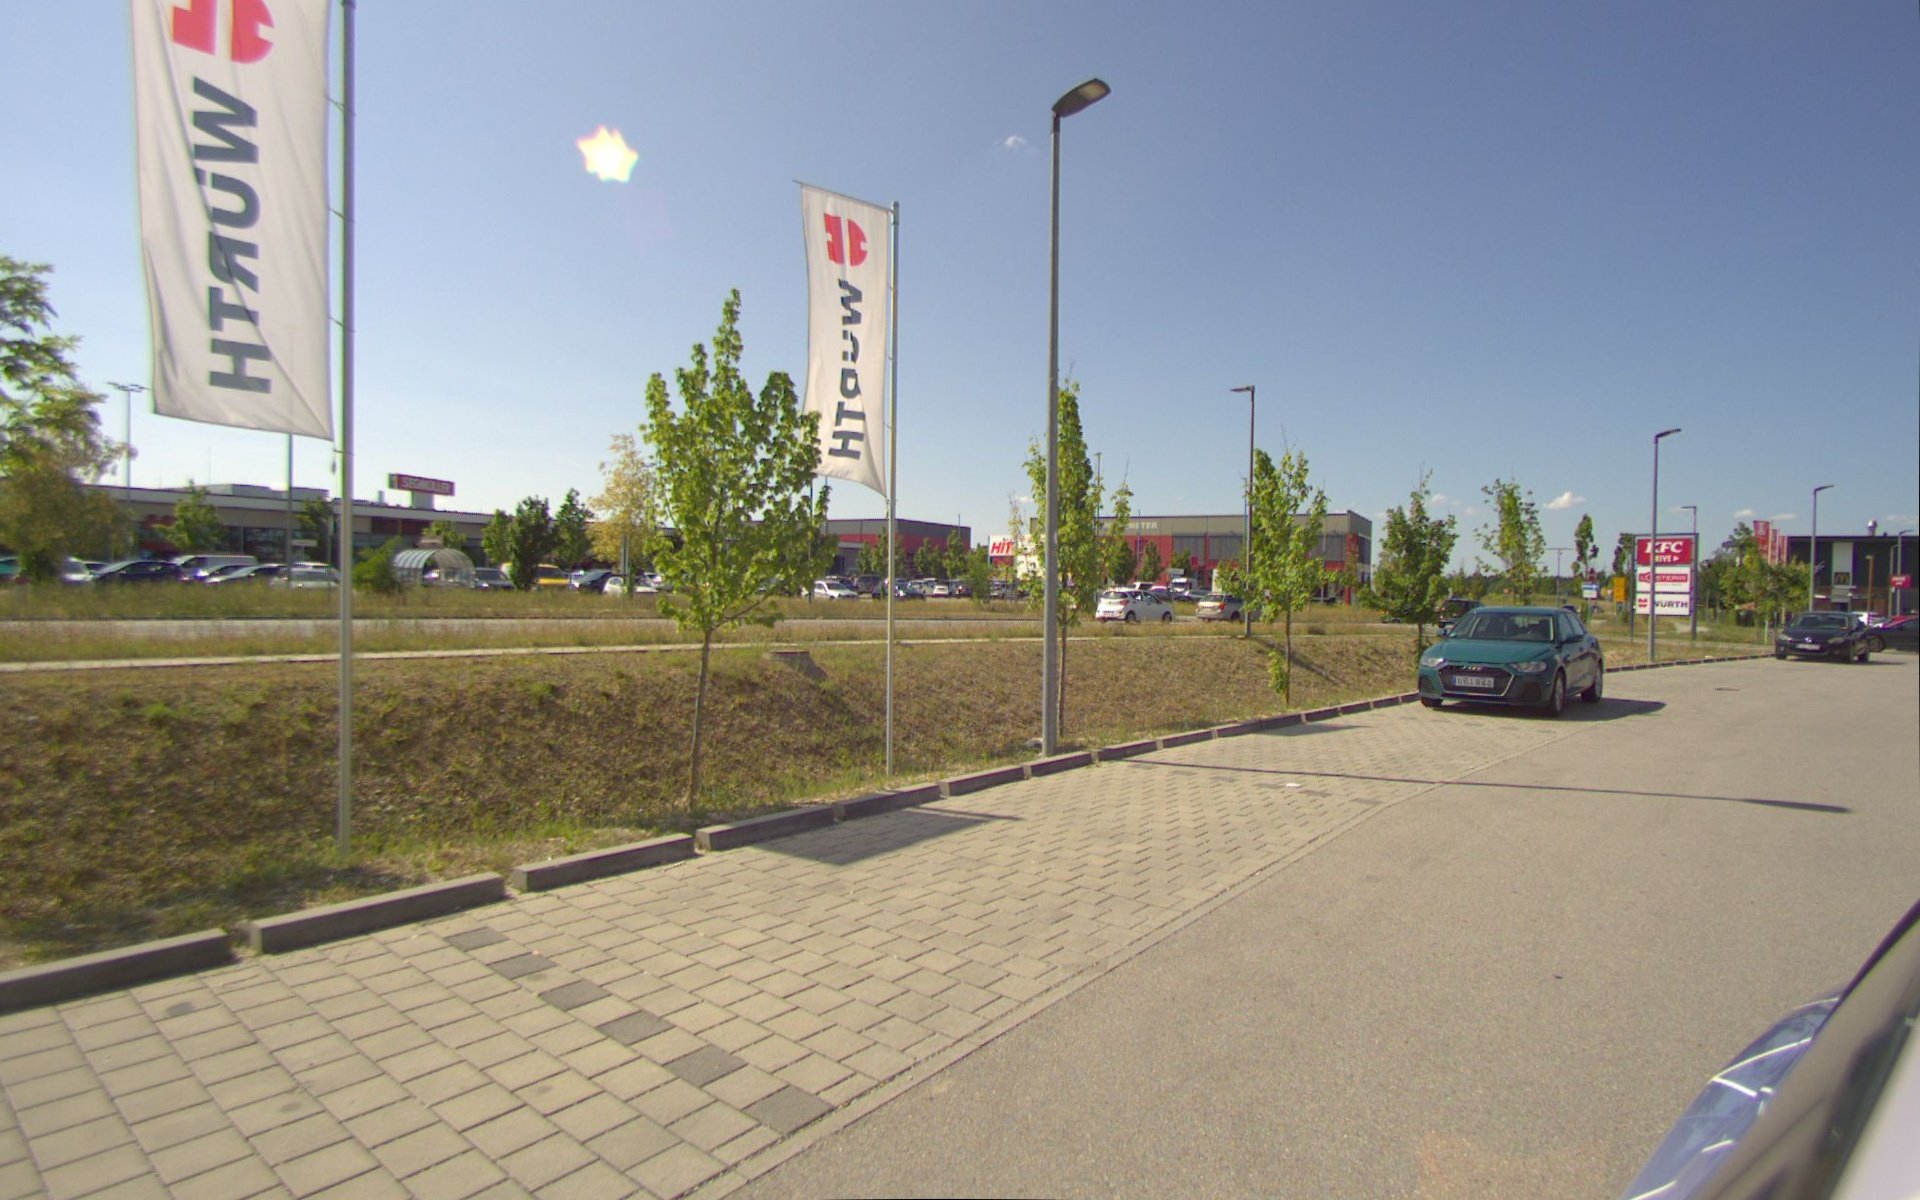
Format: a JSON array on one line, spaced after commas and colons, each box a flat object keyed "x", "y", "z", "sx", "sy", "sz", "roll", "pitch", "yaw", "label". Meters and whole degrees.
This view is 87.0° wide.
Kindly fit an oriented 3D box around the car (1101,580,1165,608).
[{"x": 13.272, "y": -0.457, "z": 77.814, "sx": 4.468, "sy": 2.063, "sz": 1.969, "roll": 1, "pitch": 0, "yaw": 42, "label": "car"}]

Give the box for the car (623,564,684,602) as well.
[{"x": -23.946, "y": -1.319, "z": 79.266, "sx": 1.983, "sy": 2.857, "sz": 4.436, "roll": 1, "pitch": 0, "yaw": 30, "label": "car"}]

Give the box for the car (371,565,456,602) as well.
[{"x": -34.698, "y": -1.023, "z": 64.373, "sx": 1.978, "sy": 2.219, "sz": 4.447, "roll": 1, "pitch": 0, "yaw": 24, "label": "car"}]

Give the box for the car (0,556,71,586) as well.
[{"x": -46.163, "y": -1.421, "z": 49.474, "sx": 1.715, "sy": 1.408, "sz": 3.697, "roll": 1, "pitch": 1, "yaw": 27, "label": "car"}]

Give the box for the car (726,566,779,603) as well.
[{"x": -16.572, "y": -1.242, "z": 81.009, "sx": 1.978, "sy": 2.857, "sz": 4.447, "roll": 1, "pitch": 0, "yaw": 24, "label": "car"}]

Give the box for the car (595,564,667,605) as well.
[{"x": -17.144, "y": -0.822, "z": 52.625, "sx": 1.911, "sy": 2.039, "sz": 4.401, "roll": 1, "pitch": 1, "yaw": -43, "label": "car"}]

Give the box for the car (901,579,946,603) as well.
[{"x": -3.225, "y": -0.745, "z": 89.683, "sx": 1.983, "sy": 2.063, "sz": 4.436, "roll": 1, "pitch": 0, "yaw": 30, "label": "car"}]

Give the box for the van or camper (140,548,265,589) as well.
[{"x": -40.549, "y": -1.653, "z": 54.266, "sx": 1.985, "sy": 2.039, "sz": 4.993, "roll": 2, "pitch": 1, "yaw": 32, "label": "van or camper"}]

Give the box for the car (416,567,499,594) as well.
[{"x": -30.551, "y": -1.174, "z": 61.627, "sx": 1.643, "sy": 1.539, "sz": 4.300, "roll": 1, "pitch": 0, "yaw": 32, "label": "car"}]

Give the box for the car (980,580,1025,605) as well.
[{"x": 3.606, "y": -0.630, "z": 85.367, "sx": 1.983, "sy": 2.063, "sz": 4.436, "roll": 1, "pitch": 0, "yaw": 30, "label": "car"}]

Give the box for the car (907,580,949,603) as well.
[{"x": -3.011, "y": -0.787, "z": 95.772, "sx": 1.983, "sy": 2.063, "sz": 4.436, "roll": 1, "pitch": 0, "yaw": 30, "label": "car"}]

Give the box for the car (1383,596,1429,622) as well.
[{"x": 28.552, "y": 0.575, "z": 64.750, "sx": 1.818, "sy": 1.561, "sz": 3.946, "roll": 1, "pitch": 0, "yaw": 37, "label": "car"}]

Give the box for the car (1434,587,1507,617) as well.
[{"x": 28.034, "y": 0.104, "z": 55.525, "sx": 4.678, "sy": 1.571, "sz": 1.944, "roll": 0, "pitch": 0, "yaw": -41, "label": "car"}]

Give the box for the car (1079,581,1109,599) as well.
[{"x": 15.928, "y": -1.141, "z": 120.179, "sx": 1.983, "sy": 2.063, "sz": 4.436, "roll": 1, "pitch": 0, "yaw": 30, "label": "car"}]

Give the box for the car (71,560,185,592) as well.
[{"x": -38.099, "y": -1.087, "z": 46.440, "sx": 1.715, "sy": 1.408, "sz": 3.697, "roll": 1, "pitch": 1, "yaw": 27, "label": "car"}]

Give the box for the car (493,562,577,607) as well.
[{"x": -20.645, "y": -0.773, "z": 49.067, "sx": 2.128, "sy": 2.039, "sz": 5.106, "roll": 0, "pitch": 1, "yaw": -43, "label": "car"}]

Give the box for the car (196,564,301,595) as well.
[{"x": -36.034, "y": -1.019, "z": 51.344, "sx": 1.860, "sy": 1.527, "sz": 3.955, "roll": 1, "pitch": 0, "yaw": 31, "label": "car"}]

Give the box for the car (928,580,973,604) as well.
[{"x": -0.802, "y": -0.708, "z": 88.677, "sx": 1.983, "sy": 2.063, "sz": 4.436, "roll": 1, "pitch": 0, "yaw": 30, "label": "car"}]

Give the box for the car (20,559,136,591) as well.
[{"x": -40.839, "y": -1.163, "z": 46.926, "sx": 1.715, "sy": 1.408, "sz": 3.697, "roll": 1, "pitch": 1, "yaw": 27, "label": "car"}]

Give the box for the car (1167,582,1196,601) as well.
[{"x": 25.088, "y": -0.986, "z": 114.358, "sx": 1.983, "sy": 2.063, "sz": 4.436, "roll": 1, "pitch": 0, "yaw": 30, "label": "car"}]

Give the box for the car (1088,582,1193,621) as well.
[{"x": 7.757, "y": 0.052, "z": 43.299, "sx": 4.678, "sy": 1.571, "sz": 1.943, "roll": 0, "pitch": 0, "yaw": -42, "label": "car"}]

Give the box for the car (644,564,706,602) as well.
[{"x": -21.738, "y": -1.277, "z": 77.264, "sx": 1.983, "sy": 2.857, "sz": 4.436, "roll": 1, "pitch": 0, "yaw": 30, "label": "car"}]

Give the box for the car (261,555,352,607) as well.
[{"x": -27.179, "y": -0.801, "z": 41.988, "sx": 5.101, "sy": 2.039, "sz": 2.130, "roll": 2, "pitch": 1, "yaw": 45, "label": "car"}]

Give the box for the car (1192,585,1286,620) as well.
[{"x": 13.291, "y": 0.111, "z": 48.069, "sx": 4.674, "sy": 1.571, "sz": 1.945, "roll": 0, "pitch": 0, "yaw": -38, "label": "car"}]

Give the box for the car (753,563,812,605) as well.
[{"x": -12.604, "y": -1.127, "z": 71.939, "sx": 1.978, "sy": 2.857, "sz": 4.447, "roll": 1, "pitch": 0, "yaw": 24, "label": "car"}]

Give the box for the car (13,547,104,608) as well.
[{"x": -32.253, "y": -0.820, "z": 36.161, "sx": 5.101, "sy": 2.039, "sz": 2.130, "roll": 2, "pitch": 1, "yaw": 45, "label": "car"}]

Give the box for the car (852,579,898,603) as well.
[{"x": -7.731, "y": -0.819, "z": 92.205, "sx": 1.983, "sy": 2.063, "sz": 4.436, "roll": 1, "pitch": 0, "yaw": 30, "label": "car"}]

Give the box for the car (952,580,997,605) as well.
[{"x": 1.255, "y": -0.670, "z": 86.896, "sx": 1.983, "sy": 2.063, "sz": 4.436, "roll": 1, "pitch": 0, "yaw": 30, "label": "car"}]

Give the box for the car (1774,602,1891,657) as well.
[{"x": 26.173, "y": 0.852, "z": 30.320, "sx": 4.284, "sy": 1.484, "sz": 1.877, "roll": 1, "pitch": 1, "yaw": -38, "label": "car"}]

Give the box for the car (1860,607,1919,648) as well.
[{"x": 37.124, "y": 1.077, "z": 38.236, "sx": 1.967, "sy": 1.477, "sz": 4.523, "roll": 1, "pitch": 1, "yaw": -44, "label": "car"}]

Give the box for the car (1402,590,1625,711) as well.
[{"x": 8.144, "y": 0.640, "z": 14.711, "sx": 1.840, "sy": 1.468, "sz": 4.160, "roll": 2, "pitch": 1, "yaw": 43, "label": "car"}]

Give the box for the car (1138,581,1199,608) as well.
[{"x": 16.718, "y": -0.440, "z": 81.345, "sx": 4.468, "sy": 2.063, "sz": 1.969, "roll": 1, "pitch": 0, "yaw": 42, "label": "car"}]
